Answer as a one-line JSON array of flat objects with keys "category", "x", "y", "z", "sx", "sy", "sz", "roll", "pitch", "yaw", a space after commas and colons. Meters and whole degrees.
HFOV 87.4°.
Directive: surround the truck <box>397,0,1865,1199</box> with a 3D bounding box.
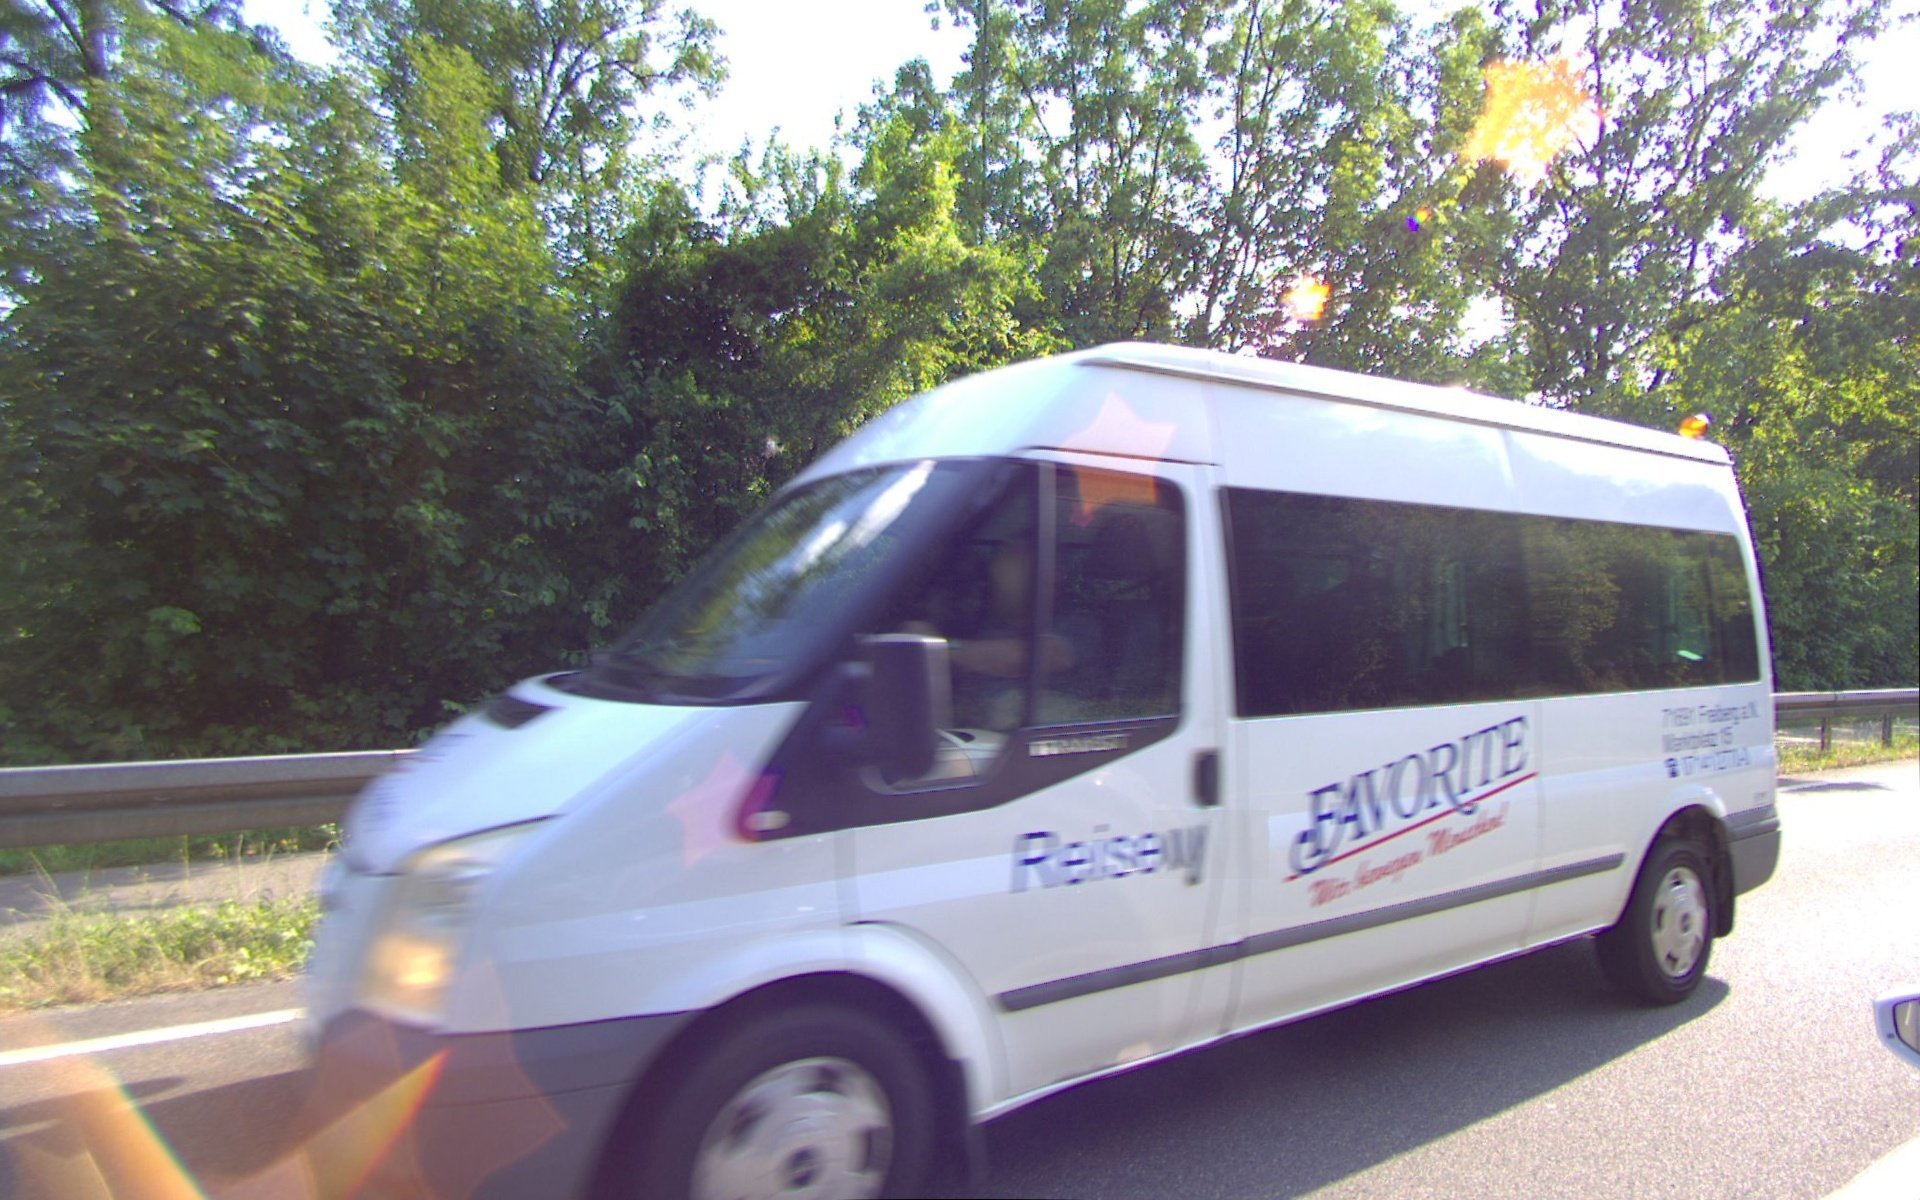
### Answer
[{"category": "truck", "x": 1.124, "y": 0.297, "z": 3.988, "sx": 5.805, "sy": 2.416, "sz": 2.047, "roll": 2, "pitch": -1, "yaw": -31}]
